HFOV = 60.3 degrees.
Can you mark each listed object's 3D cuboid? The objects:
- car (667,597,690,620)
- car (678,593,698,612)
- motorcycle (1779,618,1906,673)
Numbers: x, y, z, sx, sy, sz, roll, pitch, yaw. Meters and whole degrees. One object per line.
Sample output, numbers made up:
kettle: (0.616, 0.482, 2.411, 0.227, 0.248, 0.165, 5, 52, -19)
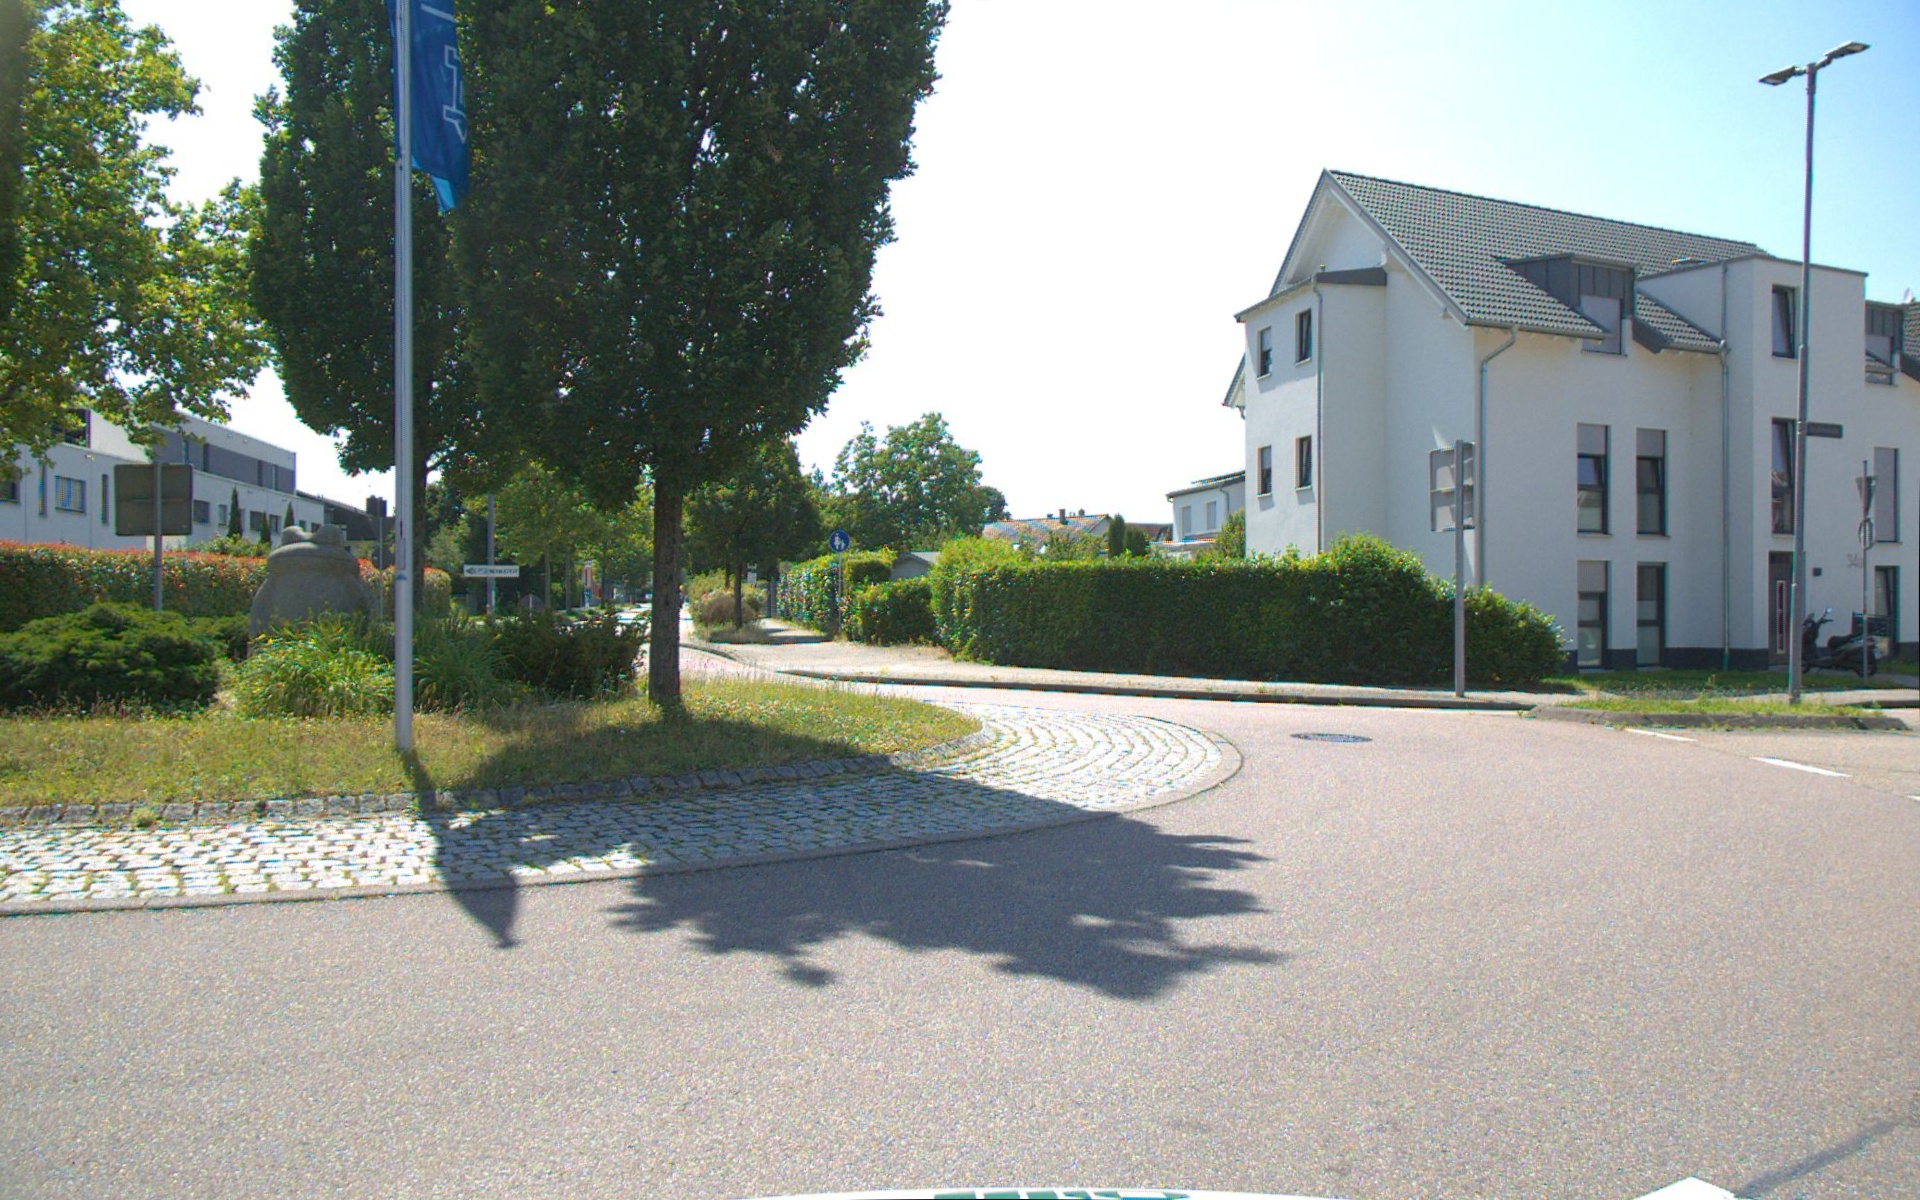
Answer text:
car: (-24.094, 0.743, 141.482, 1.888, 1.919, 3.991, 1, -1, -10)
car: (-27.729, 0.253, 168.539, 1.956, 1.801, 3.992, 1, -1, -9)
motorcycle: (18.022, 0.912, 33.843, 0.661, 1.031, 2.349, 2, -1, -26)
